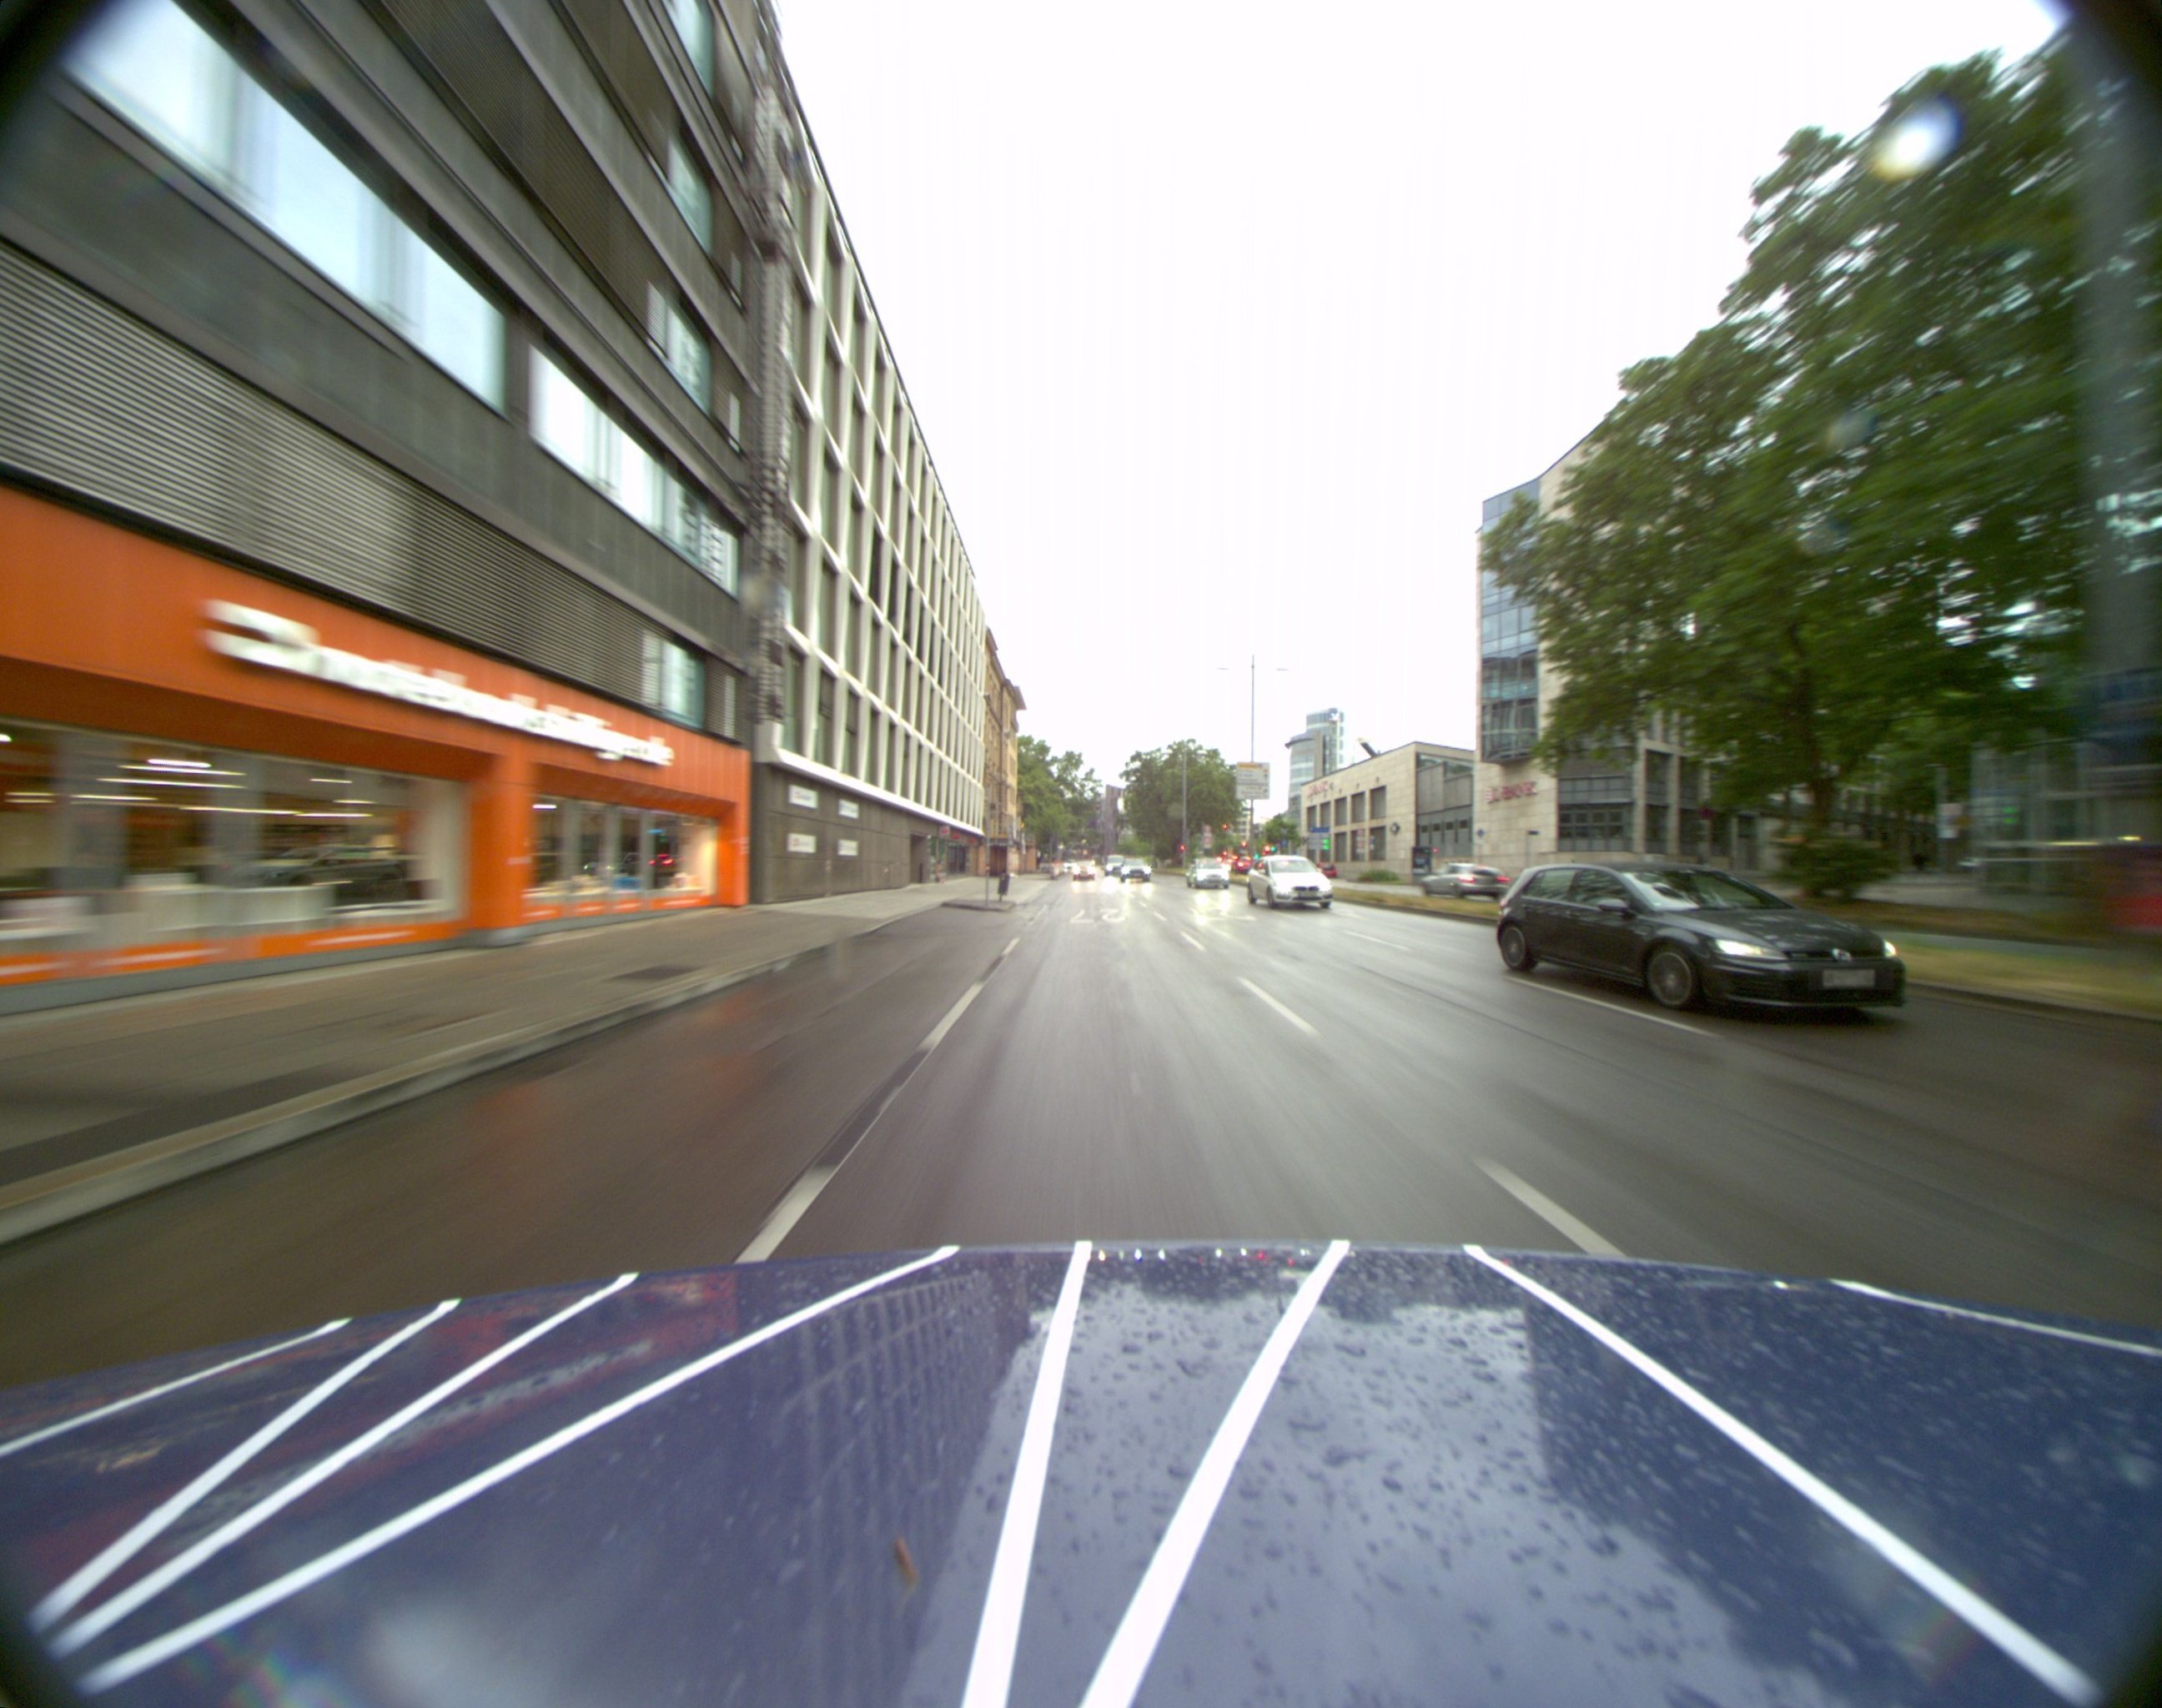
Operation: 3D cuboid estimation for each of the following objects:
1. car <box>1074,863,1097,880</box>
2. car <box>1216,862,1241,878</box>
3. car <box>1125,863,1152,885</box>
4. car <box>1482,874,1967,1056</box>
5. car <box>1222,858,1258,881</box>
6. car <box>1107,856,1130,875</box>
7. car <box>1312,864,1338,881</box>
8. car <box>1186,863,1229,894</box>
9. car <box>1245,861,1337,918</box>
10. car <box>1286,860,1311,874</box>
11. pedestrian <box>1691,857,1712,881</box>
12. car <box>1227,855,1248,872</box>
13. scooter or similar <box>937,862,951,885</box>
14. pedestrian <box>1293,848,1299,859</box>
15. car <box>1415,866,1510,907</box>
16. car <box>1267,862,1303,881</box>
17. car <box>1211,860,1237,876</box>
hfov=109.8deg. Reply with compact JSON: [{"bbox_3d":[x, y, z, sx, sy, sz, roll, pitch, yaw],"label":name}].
[{"bbox_3d":[0.315,1.318,58.058,1.716,1.274,3.494,1,0,0],"label":"car"},{"bbox_3d":[13.311,1.411,68.640,1.600,1.352,4.117,0,0,2],"label":"car"},{"bbox_3d":[3.911,1.336,52.087,1.716,1.432,3.495,1,0,2],"label":"car"},{"bbox_3d":[6.516,0.981,8.449,1.789,1.444,4.122,0,0,-3],"label":"car"},{"bbox_3d":[12.704,1.196,60.876,1.878,1.670,4.680,0,0,0],"label":"car"},{"bbox_3d":[3.361,1.029,68.583,1.998,1.733,3.910,0,0,2],"label":"car"},{"bbox_3d":[22.408,1.698,69.924,1.595,1.407,3.402,1,0,5],"label":"car"},{"bbox_3d":[6.524,1.221,39.430,1.612,1.432,3.494,-2,0,1],"label":"car"},{"bbox_3d":[6.479,1.028,23.896,1.781,1.587,3.999,0,0,0],"label":"car"},{"bbox_3d":[23.614,1.403,82.603,1.751,1.407,4.707,1,0,5],"label":"car"},{"bbox_3d":[40.607,1.014,49.732,0.669,1.561,0.820,0,-1,-21],"label":"pedestrian"},{"bbox_3d":[18.610,1.120,90.585,1.835,1.990,5.106,1,0,5],"label":"car"},{"bbox_3d":[-7.625,1.081,42.419,0.412,1.229,1.190,0,0,9],"label":"scooter or similar"},{"bbox_3d":[36.694,-0.104,129.623,0.589,1.913,1.125,-1,0,0],"label":"pedestrian"},{"bbox_3d":[15.431,1.276,30.972,1.666,1.455,4.080,2,0,-2],"label":"car"},{"bbox_3d":[16.808,1.403,62.704,1.695,1.430,4.759,0,0,0],"label":"car"},{"bbox_3d":[14.244,1.368,75.959,1.704,1.429,4.582,0,0,0],"label":"car"}]
